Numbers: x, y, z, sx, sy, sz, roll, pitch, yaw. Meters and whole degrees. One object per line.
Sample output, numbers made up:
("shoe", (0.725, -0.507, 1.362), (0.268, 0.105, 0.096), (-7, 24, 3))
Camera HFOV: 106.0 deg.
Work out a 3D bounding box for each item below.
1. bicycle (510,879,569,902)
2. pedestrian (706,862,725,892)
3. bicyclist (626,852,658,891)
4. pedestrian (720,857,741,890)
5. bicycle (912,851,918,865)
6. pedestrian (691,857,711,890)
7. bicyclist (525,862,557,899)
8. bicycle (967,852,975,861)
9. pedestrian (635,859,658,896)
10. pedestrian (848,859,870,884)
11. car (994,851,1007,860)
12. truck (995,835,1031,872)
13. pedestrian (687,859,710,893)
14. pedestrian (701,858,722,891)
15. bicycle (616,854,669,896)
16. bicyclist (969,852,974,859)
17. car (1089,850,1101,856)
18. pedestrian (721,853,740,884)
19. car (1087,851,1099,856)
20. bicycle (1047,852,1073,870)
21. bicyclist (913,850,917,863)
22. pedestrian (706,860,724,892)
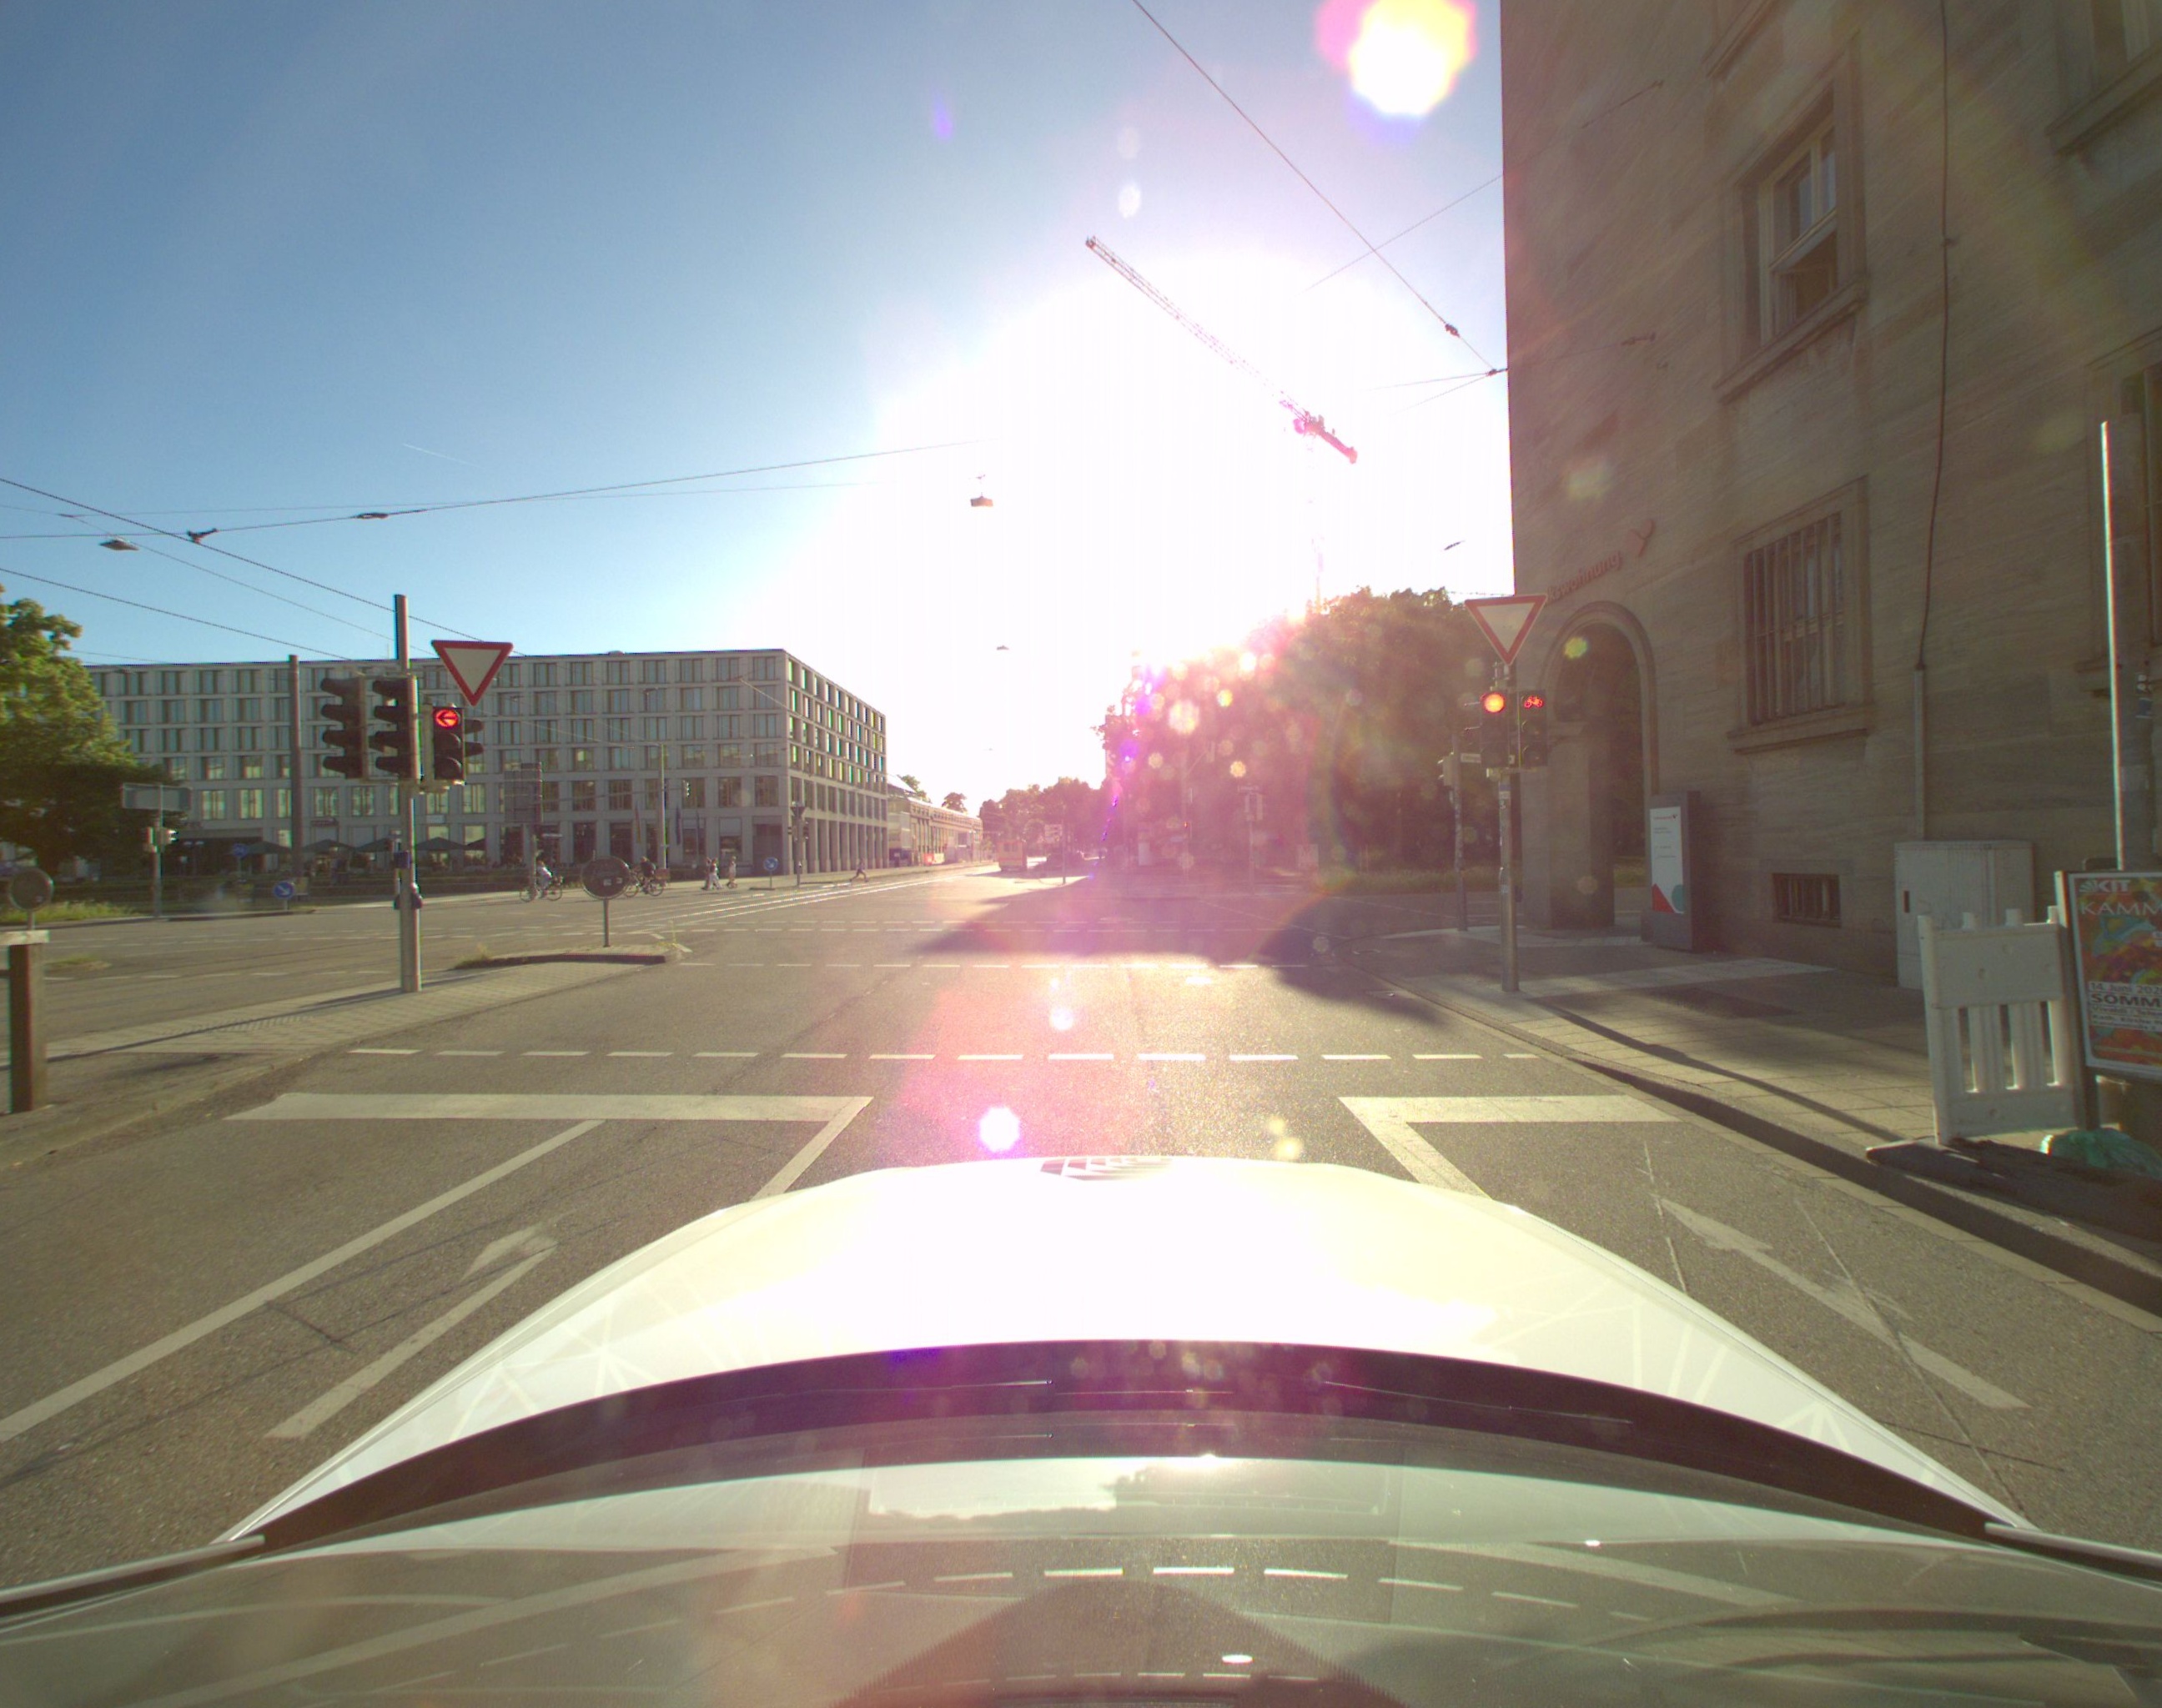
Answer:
("bicycle", (-23.487, 1.573, 35.357), (2.064, 0.933, 0.573), (-2, 0, -10))
("pedestrian", (-20.147, 1.258, 44.889), (0.691, 1.644, 0.622), (-2, 0, 3))
("bicyclist", (-19.014, 0.768, 35.255), (1.077, 1.641, 0.593), (-2, 0, -18))
("pedestrian", (-19.716, 1.088, 45.790), (0.865, 1.803, 0.533), (-2, 0, 7))
("bicycle", (-26.720, 0.604, 131.127), (0.569, 2.296, 1.422), (-2, 0, 0))
("pedestrian", (-21.255, 1.081, 45.560), (0.735, 1.803, 0.717), (-2, 0, 7))
("bicyclist", (-23.436, 1.147, 35.369), (0.975, 1.560, 0.573), (-2, 0, -10))
("bicycle", (-19.038, 0.372, 141.128), (0.686, 1.511, 2.948), (0, -1, 4))
("pedestrian", (-23.289, 1.253, 43.667), (0.797, 1.918, 0.638), (-2, 0, 7))
("pedestrian", (-11.742, 0.919, 43.137), (0.993, 1.317, 0.765), (-2, 0, -7))
("car", (-15.503, 0.230, 156.709), (1.888, 1.607, 4.499), (-2, 0, 0))
("truck", (-5.914, -0.038, 71.278), (2.709, 3.016, 6.484), (-1, 0, -2))
("pedestrian", (-20.920, 1.212, 44.497), (0.865, 1.803, 0.665), (-2, 0, 7))
("pedestrian", (-19.249, 1.058, 42.428), (0.790, 1.644, 0.621), (-2, 0, -3))
("bicycle", (-18.973, 0.902, 35.277), (1.902, 1.735, 0.593), (-2, 0, -18))
("bicyclist", (-18.989, 0.258, 141.198), (0.686, 1.328, 1.001), (0, -1, 4))
("car", (3.658, -0.205, 213.659), (3.207, 1.588, 1.445), (0, -1, -3))
("pedestrian", (-19.853, 0.813, 46.129), (0.744, 1.761, 0.679), (-2, -1, 6))
("car", (3.166, -0.005, 211.364), (3.207, 1.263, 1.373), (0, -1, 0))
("bicycle", (-2.103, 0.673, 81.598), (2.538, 1.744, 1.038), (0, -1, 1))
("bicyclist", (-26.724, 0.456, 131.093), (0.569, 2.024, 0.762), (-2, 0, 0))
("pedestrian", (-21.086, 1.240, 46.941), (0.735, 1.803, 0.533), (-2, 0, 7))
